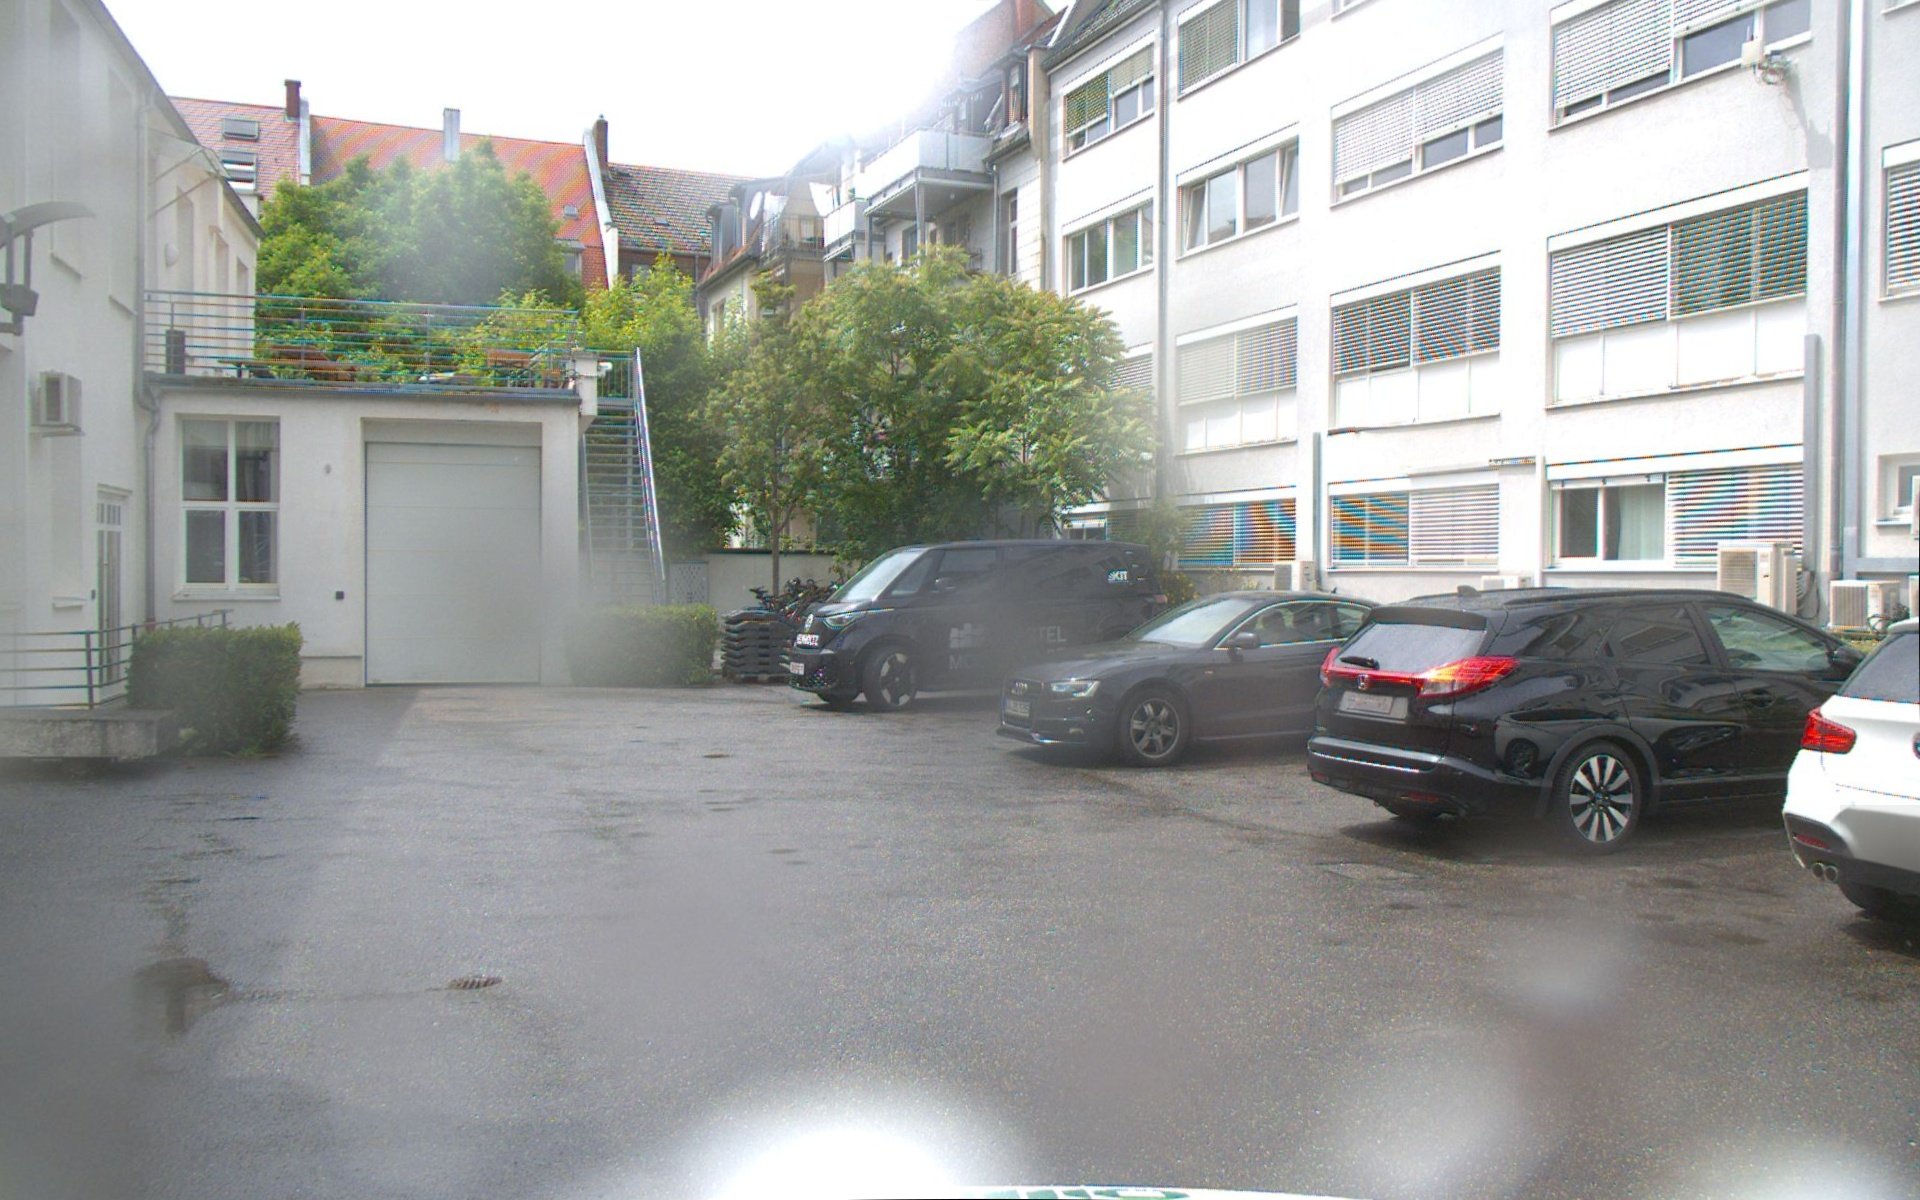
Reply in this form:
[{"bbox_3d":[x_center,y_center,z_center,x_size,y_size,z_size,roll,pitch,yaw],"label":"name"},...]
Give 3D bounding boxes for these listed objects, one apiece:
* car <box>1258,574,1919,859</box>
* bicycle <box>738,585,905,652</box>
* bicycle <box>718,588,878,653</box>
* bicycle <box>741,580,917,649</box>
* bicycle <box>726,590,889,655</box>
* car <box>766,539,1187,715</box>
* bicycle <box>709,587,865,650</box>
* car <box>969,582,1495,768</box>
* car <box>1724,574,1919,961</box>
[{"bbox_3d":[4.130,0.584,10.321,4.115,1.425,1.925,-1,1,-24],"label":"car"},{"bbox_3d":[-2.399,0.323,28.745,2.801,1.097,0.685,1,1,-20],"label":"bicycle"},{"bbox_3d":[-2.932,0.379,30.075,2.801,1.097,0.685,1,1,-20],"label":"bicycle"},{"bbox_3d":[-2.211,0.253,27.986,2.880,1.097,0.685,1,1,-20],"label":"bicycle"},{"bbox_3d":[-2.706,0.404,29.401,2.801,1.097,0.685,1,1,-20],"label":"bicycle"},{"bbox_3d":[0.199,0.243,19.936,4.647,1.865,2.096,-2,1,-24],"label":"car"},{"bbox_3d":[-3.207,0.341,30.723,2.801,1.097,0.685,1,1,-20],"label":"bicycle"},{"bbox_3d":[2.398,0.564,14.553,4.295,1.372,1.847,-1,2,-24],"label":"car"},{"bbox_3d":[5.575,0.612,7.187,4.039,1.480,1.822,-1,1,-21],"label":"car"}]
